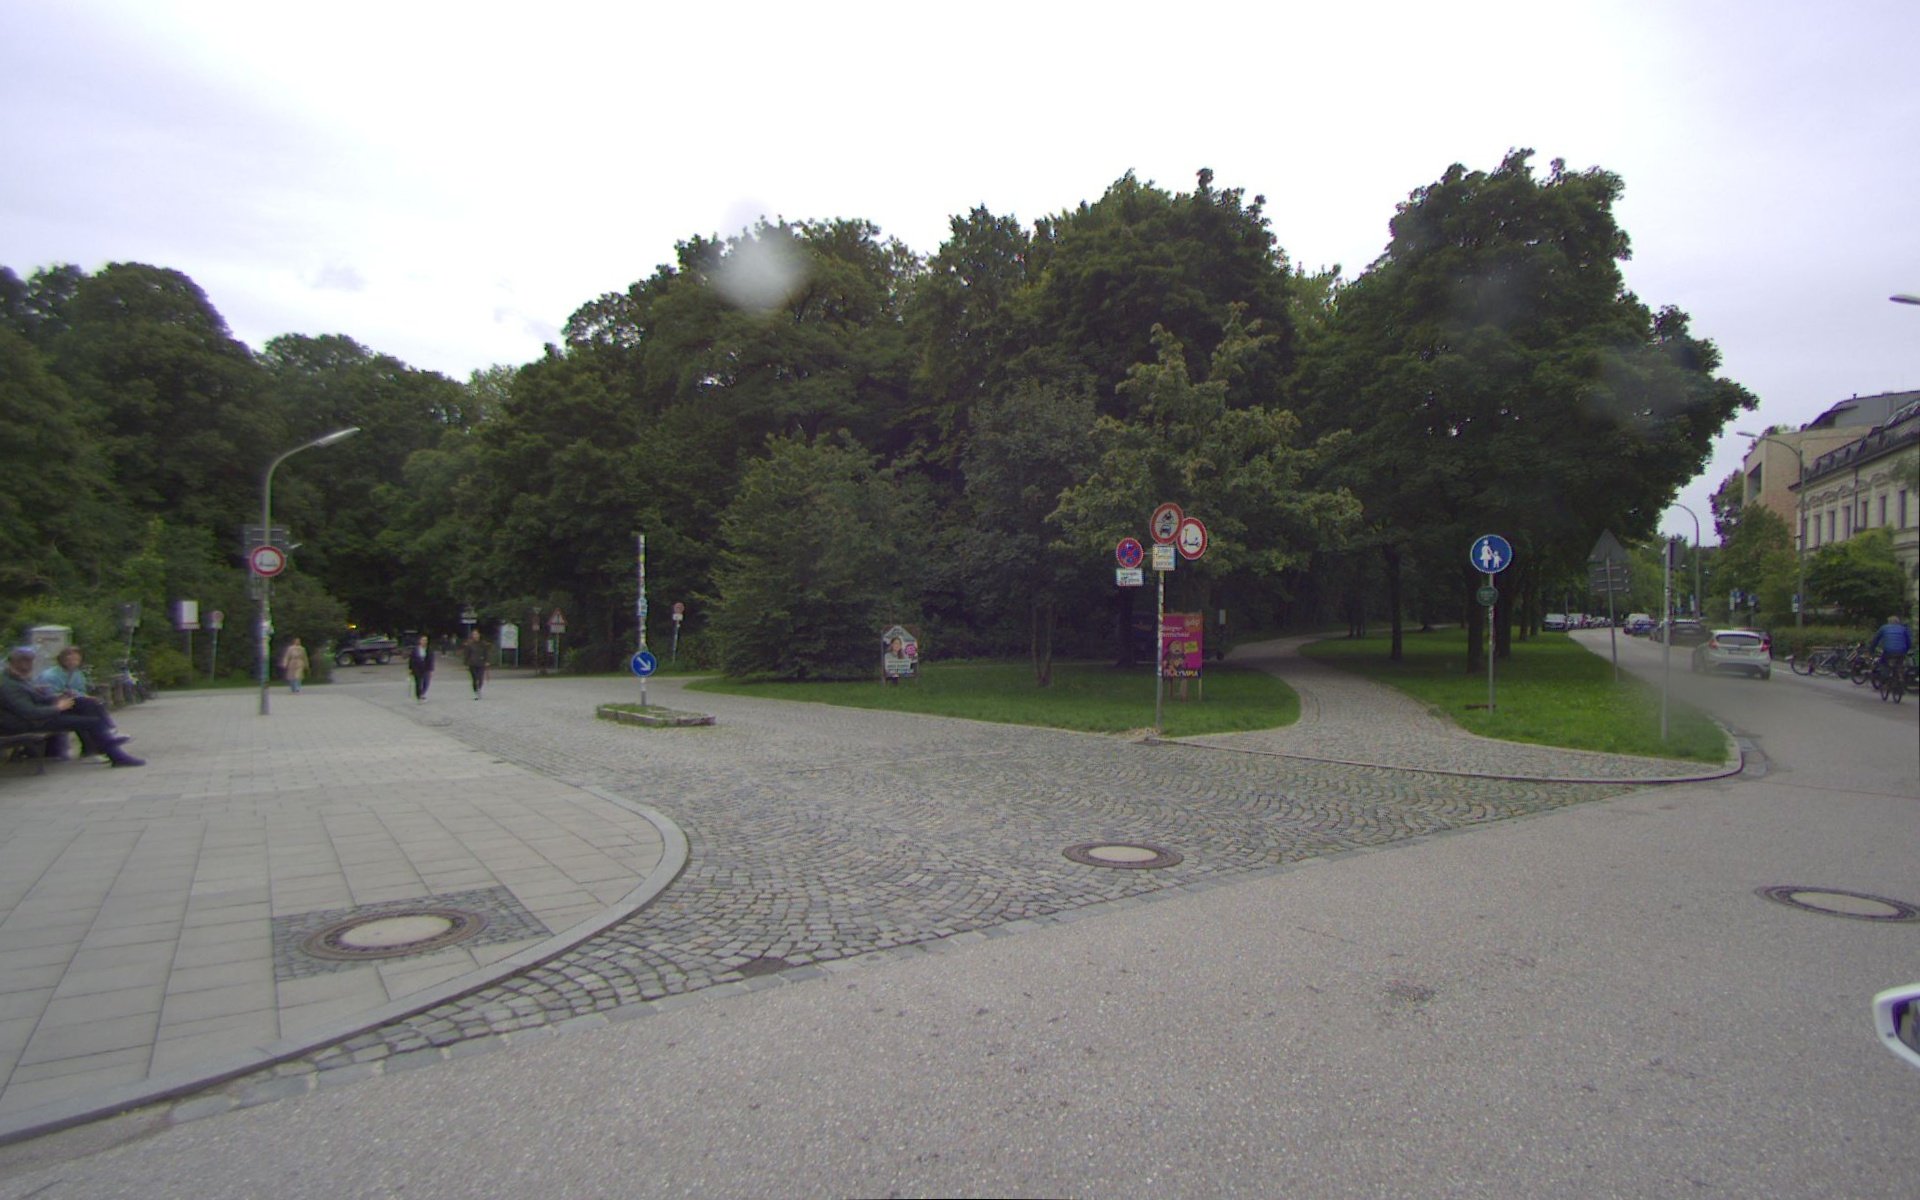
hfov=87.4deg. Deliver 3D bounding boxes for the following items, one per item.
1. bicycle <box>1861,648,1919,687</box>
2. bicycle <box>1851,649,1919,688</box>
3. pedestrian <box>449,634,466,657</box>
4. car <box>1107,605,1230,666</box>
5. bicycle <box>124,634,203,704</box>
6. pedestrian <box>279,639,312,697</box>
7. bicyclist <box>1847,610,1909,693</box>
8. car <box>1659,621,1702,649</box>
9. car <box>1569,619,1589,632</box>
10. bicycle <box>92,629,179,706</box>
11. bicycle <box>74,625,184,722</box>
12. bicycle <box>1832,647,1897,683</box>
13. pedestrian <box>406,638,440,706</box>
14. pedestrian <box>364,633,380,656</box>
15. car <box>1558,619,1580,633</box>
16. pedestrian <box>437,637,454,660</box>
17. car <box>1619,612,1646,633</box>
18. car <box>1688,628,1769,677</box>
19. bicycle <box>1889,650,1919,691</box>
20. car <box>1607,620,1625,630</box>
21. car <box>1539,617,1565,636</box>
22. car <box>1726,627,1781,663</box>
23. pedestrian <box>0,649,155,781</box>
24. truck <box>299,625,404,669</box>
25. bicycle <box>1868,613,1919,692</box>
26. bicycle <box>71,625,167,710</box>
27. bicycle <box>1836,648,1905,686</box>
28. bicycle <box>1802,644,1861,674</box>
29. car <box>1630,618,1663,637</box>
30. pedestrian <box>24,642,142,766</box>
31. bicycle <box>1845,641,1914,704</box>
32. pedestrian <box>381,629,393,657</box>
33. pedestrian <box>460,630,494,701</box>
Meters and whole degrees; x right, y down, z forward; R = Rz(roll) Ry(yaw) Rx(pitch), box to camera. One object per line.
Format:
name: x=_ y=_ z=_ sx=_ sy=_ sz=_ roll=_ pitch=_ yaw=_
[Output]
bicycle: x=25.053 y=1.802 z=26.834 sx=1.506 sy=1.028 sz=0.409 roll=0 pitch=-1 yaw=5
bicycle: x=25.213 y=1.861 z=27.356 sx=1.507 sy=1.028 sz=0.409 roll=0 pitch=-1 yaw=1
pedestrian: x=-37.209 y=3.342 z=74.325 sx=0.721 sy=1.674 sz=0.879 roll=-1 pitch=-1 yaw=37
car: x=7.299 y=1.244 z=35.410 sx=3.923 sy=2.040 sz=1.787 roll=1 pitch=-1 yaw=-4
bicycle: x=-21.350 y=1.804 z=26.896 sx=3.104 sy=1.684 sz=1.048 roll=0 pitch=-1 yaw=40
pedestrian: x=-20.760 y=2.109 z=31.390 sx=0.743 sy=1.728 sz=1.099 roll=1 pitch=-1 yaw=-38
bicyclist: x=20.421 y=1.119 z=22.379 sx=0.902 sy=1.787 sz=1.210 roll=0 pitch=-1 yaw=37
car: x=46.516 y=2.210 z=64.921 sx=1.766 sy=1.702 sz=3.993 roll=0 pitch=-1 yaw=29
car: x=80.028 y=3.342 z=129.896 sx=1.967 sy=1.622 sz=4.454 roll=0 pitch=-1 yaw=34
bicycle: x=-20.027 y=1.587 z=24.374 sx=3.104 sy=1.684 sz=1.048 roll=0 pitch=-1 yaw=40
bicycle: x=-16.054 y=1.344 z=19.373 sx=3.104 sy=1.684 sz=1.048 roll=0 pitch=-1 yaw=39
bicycle: x=26.379 y=1.884 z=29.291 sx=1.507 sy=1.028 sz=0.409 roll=0 pitch=-1 yaw=1
pedestrian: x=-13.069 y=1.724 z=24.425 sx=0.684 sy=1.602 sz=0.745 roll=1 pitch=-1 yaw=-31
pedestrian: x=-40.079 y=3.022 z=68.457 sx=0.650 sy=1.514 sz=0.629 roll=0 pitch=-1 yaw=7
car: x=71.783 y=3.087 z=118.441 sx=1.967 sy=1.622 sz=4.454 roll=0 pitch=-1 yaw=34
pedestrian: x=-37.400 y=3.543 z=73.040 sx=0.866 sy=1.674 sz=0.732 roll=0 pitch=-1 yaw=-11
car: x=64.423 y=2.145 z=96.239 sx=2.037 sy=1.992 sz=4.964 roll=0 pitch=-1 yaw=33
car: x=24.394 y=1.628 z=31.997 sx=1.723 sy=1.425 sz=3.718 roll=0 pitch=-1 yaw=32
bicycle: x=24.797 y=1.803 z=25.726 sx=1.506 sy=1.028 sz=0.367 roll=0 pitch=-1 yaw=10
car: x=107.376 y=4.142 z=164.358 sx=1.969 sy=1.622 sz=4.448 roll=0 pitch=-1 yaw=38
car: x=54.248 y=2.404 z=92.071 sx=1.964 sy=1.622 sz=4.459 roll=0 pitch=-1 yaw=30
car: x=37.337 y=2.096 z=47.316 sx=1.623 sy=1.579 sz=3.551 roll=0 pitch=-1 yaw=32
pedestrian: x=-9.503 y=1.194 z=10.817 sx=1.256 sy=1.285 sz=0.840 roll=1 pitch=-1 yaw=-42
truck: x=-36.868 y=2.800 z=61.081 sx=2.351 sy=2.493 sz=5.497 roll=1 pitch=-1 yaw=11
bicycle: x=24.789 y=1.360 z=26.231 sx=1.643 sy=2.040 sz=0.457 roll=0 pitch=-1 yaw=5
bicycle: x=-18.228 y=1.398 z=21.741 sx=2.958 sy=1.684 sz=1.048 roll=0 pitch=-1 yaw=39
bicycle: x=25.235 y=1.845 z=27.860 sx=1.507 sy=1.028 sz=0.409 roll=0 pitch=-1 yaw=1
bicycle: x=29.889 y=2.019 z=34.467 sx=1.506 sy=1.028 sz=0.409 roll=0 pitch=-1 yaw=14
car: x=60.073 y=2.415 z=87.931 sx=1.964 sy=1.622 sz=4.247 roll=0 pitch=-1 yaw=29
pedestrian: x=-10.496 y=1.204 z=12.047 sx=1.025 sy=1.353 sz=0.944 roll=1 pitch=-1 yaw=-42
bicycle: x=20.391 y=1.567 z=22.324 sx=0.909 sy=1.269 sz=2.312 roll=0 pitch=-1 yaw=37
pedestrian: x=-41.627 y=3.123 z=72.997 sx=0.690 sy=2.040 sz=0.711 roll=0 pitch=-1 yaw=-35
pedestrian: x=-12.091 y=1.630 z=25.126 sx=0.653 sy=1.720 sz=0.745 roll=1 pitch=-1 yaw=-33
